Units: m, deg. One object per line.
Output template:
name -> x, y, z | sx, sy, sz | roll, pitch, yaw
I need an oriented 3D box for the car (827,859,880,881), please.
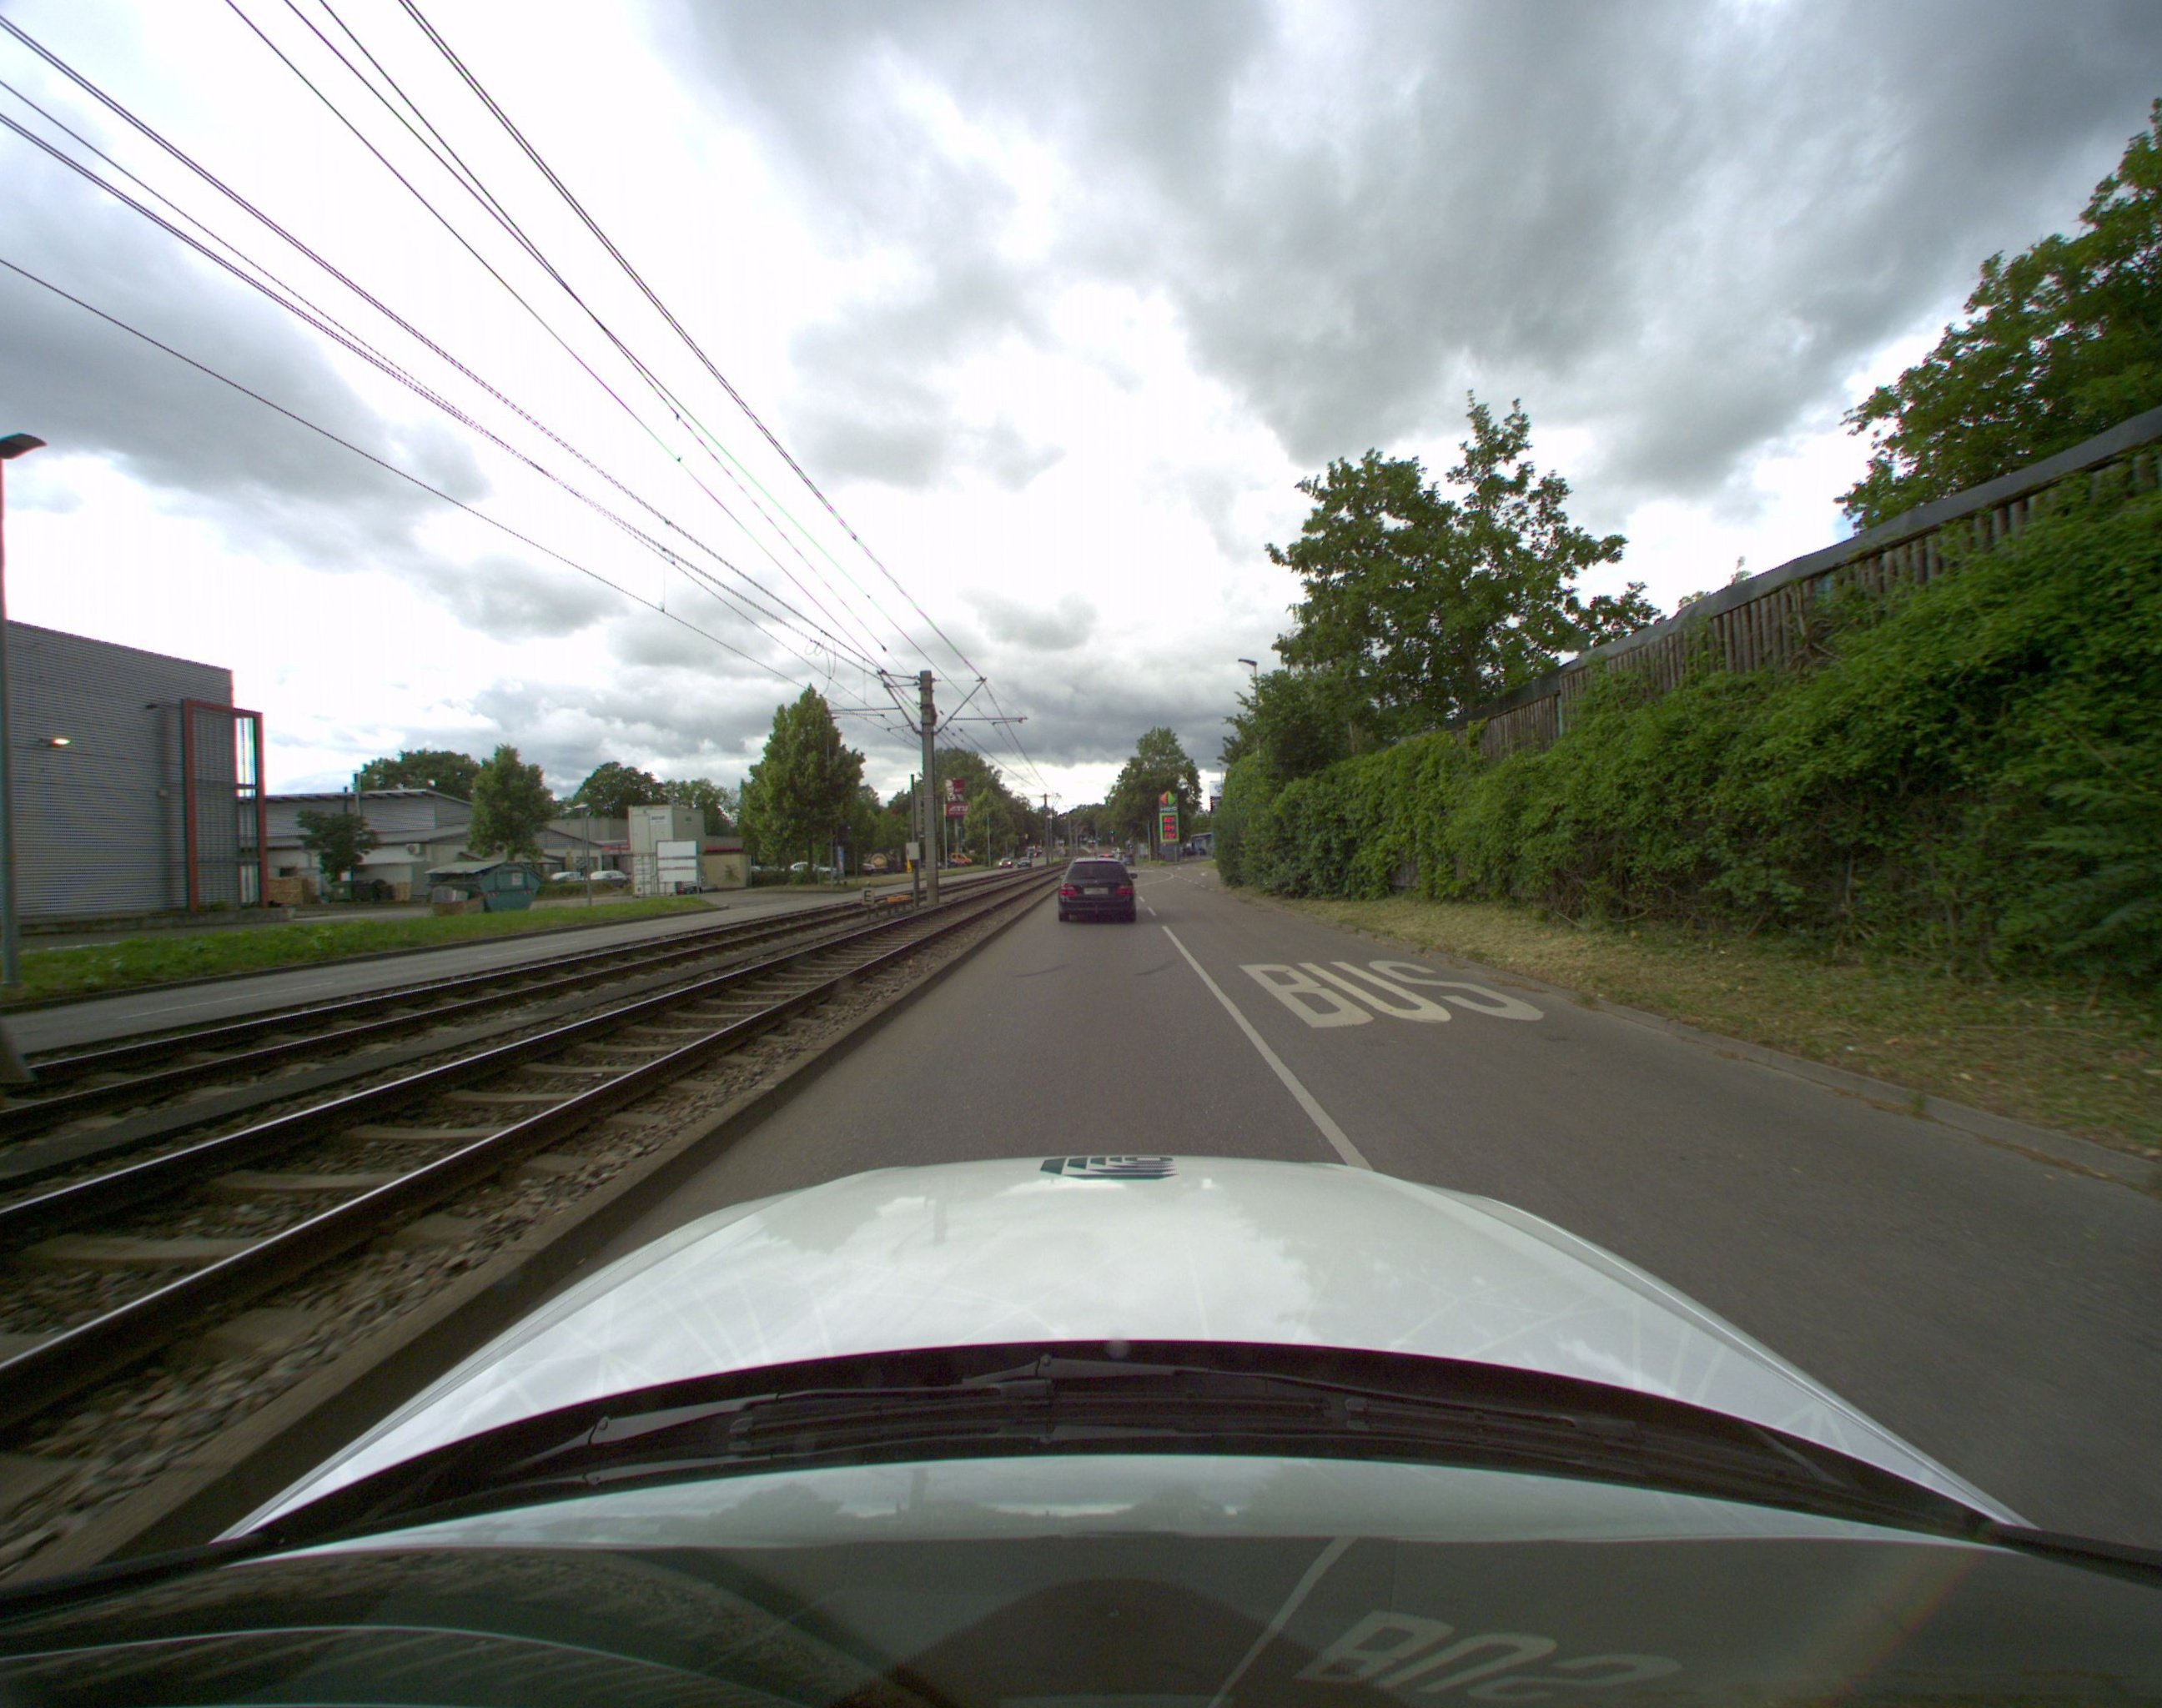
car -> -20.739, 1.441, 74.455 | 4.208, 1.727, 1.995 | -3, 0, -1

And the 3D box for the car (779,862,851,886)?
car -> -21.124, 1.587, 64.895 | 4.763, 1.628, 2.653 | -2, 0, 2

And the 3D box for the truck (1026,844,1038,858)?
truck -> -13.624, -0.787, 227.829 | 2.699, 3.663, 11.105 | -3, 0, -1

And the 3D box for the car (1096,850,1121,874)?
car -> 2.083, 0.594, 61.730 | 1.774, 1.750, 3.719 | 0, -1, 1

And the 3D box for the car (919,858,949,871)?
car -> -20.767, 1.485, 115.207 | 3.978, 1.599, 1.876 | -3, 0, -3

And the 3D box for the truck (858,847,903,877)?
truck -> -20.498, 0.805, 83.462 | 3.976, 2.821, 2.375 | -3, 0, -2

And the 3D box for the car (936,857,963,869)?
car -> -20.664, 1.366, 127.680 | 3.978, 1.797, 1.876 | -1, 0, -3

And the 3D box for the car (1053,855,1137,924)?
car -> 0.370, 0.772, 19.629 | 1.802, 1.474, 3.882 | -1, 0, 2

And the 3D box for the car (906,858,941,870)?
car -> -20.571, 1.302, 106.428 | 4.294, 1.472, 1.680 | -2, 0, -1

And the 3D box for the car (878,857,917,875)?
car -> -20.872, 1.353, 92.954 | 3.978, 1.797, 1.876 | -3, 0, -3

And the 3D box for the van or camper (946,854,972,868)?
van or camper -> -19.798, 1.120, 132.739 | 3.978, 2.135, 1.876 | -1, 0, -3

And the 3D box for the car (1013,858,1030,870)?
car -> -8.097, 1.375, 111.292 | 1.753, 1.401, 4.443 | -5, 0, 1

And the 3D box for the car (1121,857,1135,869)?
car -> 5.701, 1.079, 99.041 | 1.565, 1.414, 3.355 | 0, -1, 1

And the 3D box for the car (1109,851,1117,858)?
car -> 8.629, 0.154, 218.851 | 1.986, 1.838, 4.001 | -1, -1, 1

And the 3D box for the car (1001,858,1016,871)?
car -> -10.320, 1.487, 115.810 | 1.786, 1.772, 3.999 | -2, 0, 0

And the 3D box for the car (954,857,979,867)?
car -> -19.870, 1.365, 141.640 | 3.978, 1.599, 1.794 | -3, 0, -3
